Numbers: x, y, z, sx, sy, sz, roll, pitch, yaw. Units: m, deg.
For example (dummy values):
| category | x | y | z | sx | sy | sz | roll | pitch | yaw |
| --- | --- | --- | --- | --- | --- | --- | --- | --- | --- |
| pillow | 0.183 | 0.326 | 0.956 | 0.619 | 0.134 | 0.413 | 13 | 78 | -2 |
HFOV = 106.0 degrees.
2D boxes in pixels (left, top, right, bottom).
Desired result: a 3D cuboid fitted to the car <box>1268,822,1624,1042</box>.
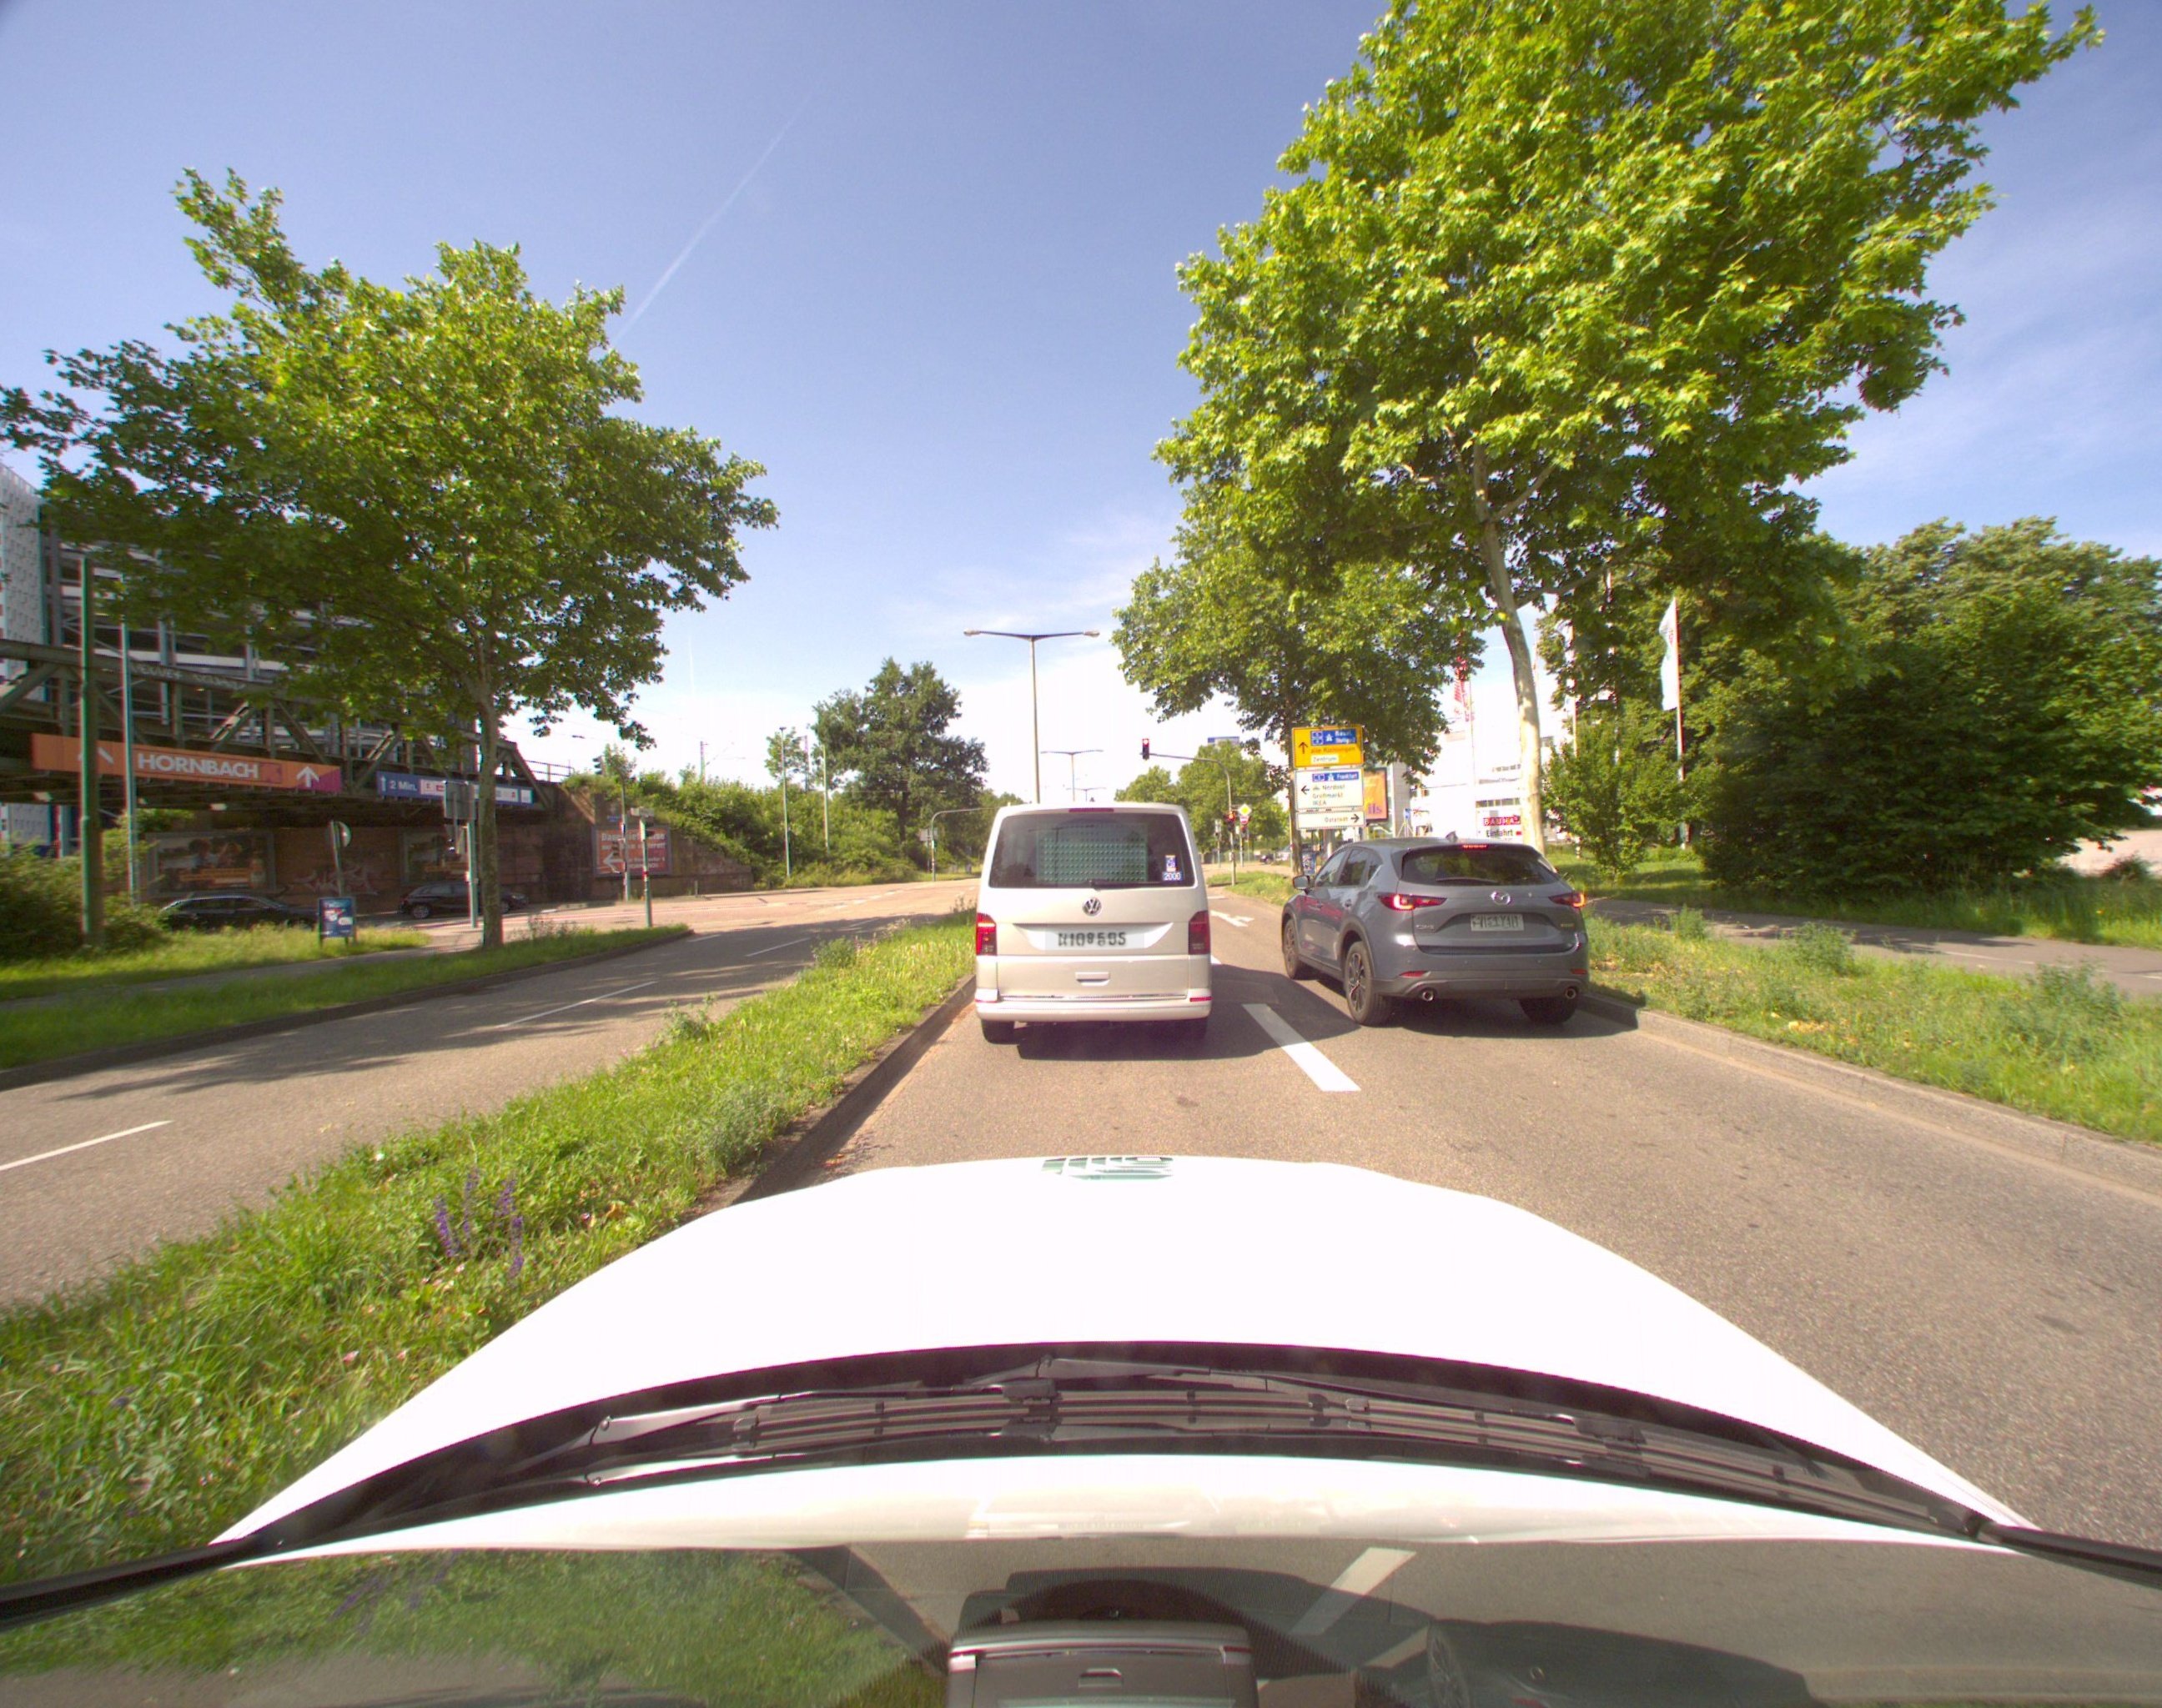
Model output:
| category | x | y | z | sx | sy | sz | roll | pitch | yaw |
| --- | --- | --- | --- | --- | --- | --- | --- | --- | --- |
| car | 3.306 | 0.601 | 8.478 | 1.759 | 1.659 | 4.497 | -1 | 0 | 1 |

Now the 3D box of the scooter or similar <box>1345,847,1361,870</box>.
| category | x | y | z | sx | sy | sz | roll | pitch | yaw |
| --- | --- | --- | --- | --- | --- | --- | --- | --- | --- |
| scooter or similar | 14.106 | 0.233 | 42.204 | 0.423 | 1.126 | 1.124 | -3 | 0 | 1 |

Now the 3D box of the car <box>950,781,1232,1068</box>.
| category | x | y | z | sx | sy | sz | roll | pitch | yaw |
| --- | --- | --- | --- | --- | --- | --- | --- | --- | --- |
| car | 0.149 | 0.503 | 8.252 | 1.934 | 1.971 | 5.024 | -2 | 0 | 2 |

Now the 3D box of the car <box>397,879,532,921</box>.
| category | x | y | z | sx | sy | sz | roll | pitch | yaw |
| --- | --- | --- | --- | --- | --- | --- | --- | --- | --- |
| car | -25.618 | 1.875 | 34.055 | 4.353 | 1.395 | 1.752 | -3 | 0 | -35 |

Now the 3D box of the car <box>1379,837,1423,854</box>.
| category | x | y | z | sx | sy | sz | roll | pitch | yaw |
| --- | --- | --- | --- | --- | --- | --- | --- | --- | --- |
| car | 32.023 | -0.854 | 81.405 | 4.646 | 1.444 | 1.762 | -3 | 0 | -35 |

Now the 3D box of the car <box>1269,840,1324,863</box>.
| category | x | y | z | sx | sy | sz | roll | pitch | yaw |
| --- | --- | --- | --- | --- | --- | --- | --- | --- | --- |
| car | 18.168 | -0.193 | 68.552 | 4.646 | 1.689 | 1.895 | -3 | 0 | -35 |

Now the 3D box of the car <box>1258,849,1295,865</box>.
| category | x | y | z | sx | sy | sz | roll | pitch | yaw |
| --- | --- | --- | --- | --- | --- | --- | --- | --- | --- |
| car | 19.829 | 0.286 | 82.706 | 3.571 | 1.566 | 2.007 | -1 | -1 | 12 |

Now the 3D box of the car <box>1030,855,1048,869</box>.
| category | x | y | z | sx | sy | sz | roll | pitch | yaw |
| --- | --- | --- | --- | --- | --- | --- | --- | --- | --- |
| car | -4.981 | 0.937 | 96.820 | 1.844 | 1.561 | 3.999 | -3 | 0 | 0 |

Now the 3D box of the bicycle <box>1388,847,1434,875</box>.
| category | x | y | z | sx | sy | sz | roll | pitch | yaw |
| --- | --- | --- | --- | --- | --- | --- | --- | --- | --- |
| bicycle | 14.190 | 0.295 | 35.065 | 1.771 | 1.108 | 0.506 | -4 | -1 | 20 |

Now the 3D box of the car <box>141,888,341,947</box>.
| category | x | y | z | sx | sy | sz | roll | pitch | yaw |
| --- | --- | --- | --- | --- | --- | --- | --- | --- | --- |
| car | -25.510 | 1.873 | 24.956 | 3.959 | 1.481 | 1.804 | -1 | -1 | -34 |

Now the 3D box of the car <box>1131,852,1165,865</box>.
| category | x | y | z | sx | sy | sz | roll | pitch | yaw |
| --- | --- | --- | --- | --- | --- | --- | --- | --- | --- |
| car | 7.710 | 0.541 | 94.295 | 1.785 | 1.444 | 4.586 | -2 | 0 | -26 |
